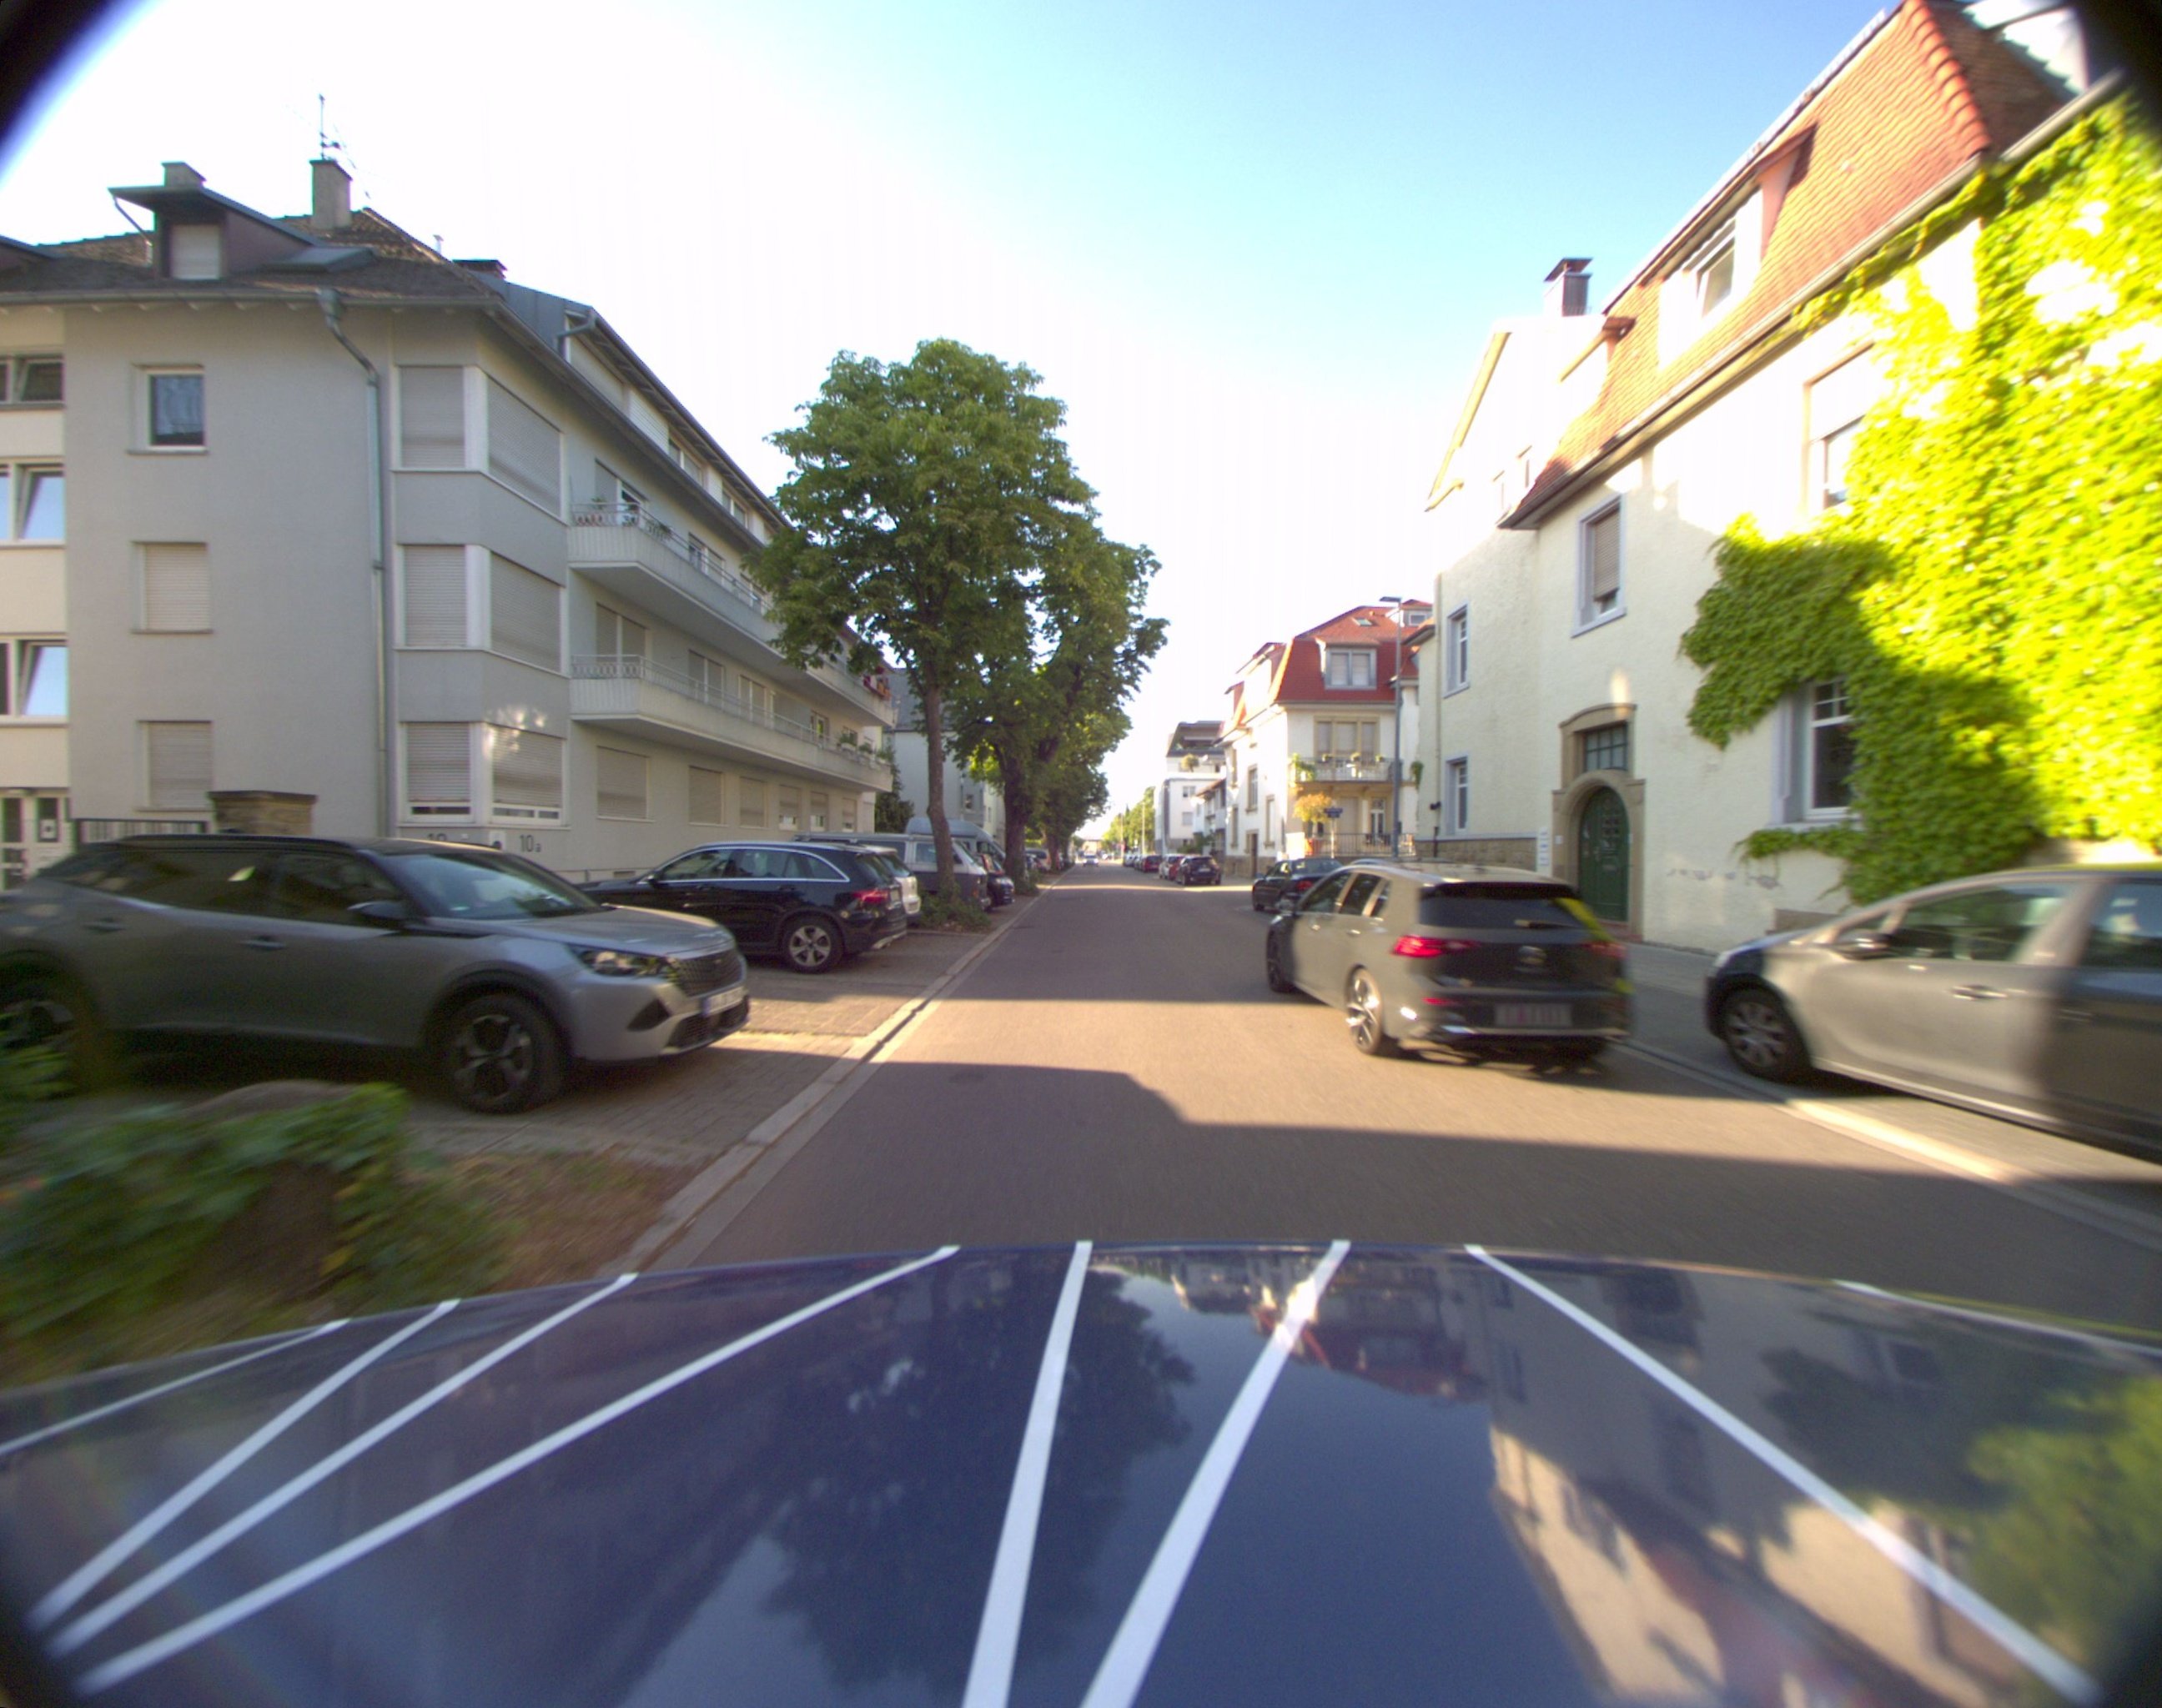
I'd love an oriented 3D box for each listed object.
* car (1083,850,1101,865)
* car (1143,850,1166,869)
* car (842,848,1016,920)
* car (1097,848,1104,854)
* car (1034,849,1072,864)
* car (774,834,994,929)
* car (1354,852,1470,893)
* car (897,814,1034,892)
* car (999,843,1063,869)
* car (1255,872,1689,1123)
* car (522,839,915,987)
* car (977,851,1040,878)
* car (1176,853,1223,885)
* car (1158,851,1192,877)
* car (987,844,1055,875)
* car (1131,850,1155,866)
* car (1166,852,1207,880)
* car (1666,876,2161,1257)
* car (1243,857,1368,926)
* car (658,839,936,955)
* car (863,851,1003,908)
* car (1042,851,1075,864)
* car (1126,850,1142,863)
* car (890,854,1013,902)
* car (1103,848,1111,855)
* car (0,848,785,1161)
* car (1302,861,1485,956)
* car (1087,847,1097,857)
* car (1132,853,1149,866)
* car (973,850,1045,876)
[{"bbox_3d":[1.314,0.408,91.841,2.098,1.700,4.606,0,1,1],"label":"car"},{"bbox_3d":[5.956,0.439,62.094,1.654,1.474,3.429,-1,0,2],"label":"car"},{"bbox_3d":[-3.798,0.739,19.528,4.188,1.714,1.764,1,1,-7],"label":"car"},{"bbox_3d":[6.199,-0.907,240.826,1.913,1.679,4.198,-1,0,1],"label":"car"},{"bbox_3d":[-2.837,0.291,76.910,3.680,1.434,1.601,1,0,1],"label":"car"},{"bbox_3d":[-4.308,0.587,17.173,4.481,2.002,1.896,0,1,-1],"label":"car"},{"bbox_3d":[12.840,0.722,29.630,3.772,1.550,1.761,0,-1,-4],"label":"car"},{"bbox_3d":[-4.485,-0.022,30.196,5.109,2.885,2.075,1,1,-2],"label":"car"},{"bbox_3d":[-3.887,0.177,59.737,4.819,1.925,1.950,1,0,1],"label":"car"},{"bbox_3d":[2.889,0.941,6.732,1.776,1.440,4.000,1,0,0],"label":"car"},{"bbox_3d":[-4.576,0.728,10.094,4.343,1.673,1.705,2,0,-2],"label":"car"},{"bbox_3d":[-4.150,0.602,43.902,3.411,1.419,1.759,2,0,1],"label":"car"},{"bbox_3d":[5.756,0.680,37.507,1.657,1.446,4.630,-1,0,1],"label":"car"},{"bbox_3d":[5.823,0.598,47.359,1.585,1.511,3.706,-1,0,-1],"label":"car"},{"bbox_3d":[-3.886,0.347,49.461,4.313,1.874,1.758,1,1,-2],"label":"car"},{"bbox_3d":[5.942,0.342,73.554,1.743,1.451,4.564,-1,0,-2],"label":"car"},{"bbox_3d":[5.936,0.651,42.961,1.586,1.468,3.705,-1,0,-3],"label":"car"},{"bbox_3d":[5.230,0.908,3.751,1.657,1.438,4.005,-1,0,1],"label":"car"},{"bbox_3d":[5.495,0.844,19.249,1.714,1.461,4.632,-1,0,-1],"label":"car"},{"bbox_3d":[-4.634,0.669,12.744,3.958,1.673,1.706,2,0,4],"label":"car"},{"bbox_3d":[-4.281,0.723,22.304,3.729,1.545,1.639,1,1,2],"label":"car"},{"bbox_3d":[-2.773,0.407,92.826,3.828,1.477,1.600,1,0,-6],"label":"car"},{"bbox_3d":[6.270,0.281,90.281,1.723,1.386,3.908,-1,0,2],"label":"car"},{"bbox_3d":[-4.177,0.759,24.892,3.730,1.422,1.758,1,2,-1],"label":"car"},{"bbox_3d":[6.630,-0.691,195.929,1.913,1.679,4.198,-1,0,1],"label":"car"},{"bbox_3d":[-4.422,0.807,5.015,4.166,1.530,1.851,2,1,0],"label":"car"},{"bbox_3d":[5.494,0.868,13.976,1.658,1.407,4.167,-1,0,0],"label":"car"},{"bbox_3d":[2.018,-0.402,139.709,1.913,1.679,4.198,-1,0,1],"label":"car"},{"bbox_3d":[6.606,0.558,85.155,1.723,1.386,3.908,-1,0,2],"label":"car"},{"bbox_3d":[-4.377,0.551,46.736,4.313,1.532,1.758,1,0,-2],"label":"car"}]
